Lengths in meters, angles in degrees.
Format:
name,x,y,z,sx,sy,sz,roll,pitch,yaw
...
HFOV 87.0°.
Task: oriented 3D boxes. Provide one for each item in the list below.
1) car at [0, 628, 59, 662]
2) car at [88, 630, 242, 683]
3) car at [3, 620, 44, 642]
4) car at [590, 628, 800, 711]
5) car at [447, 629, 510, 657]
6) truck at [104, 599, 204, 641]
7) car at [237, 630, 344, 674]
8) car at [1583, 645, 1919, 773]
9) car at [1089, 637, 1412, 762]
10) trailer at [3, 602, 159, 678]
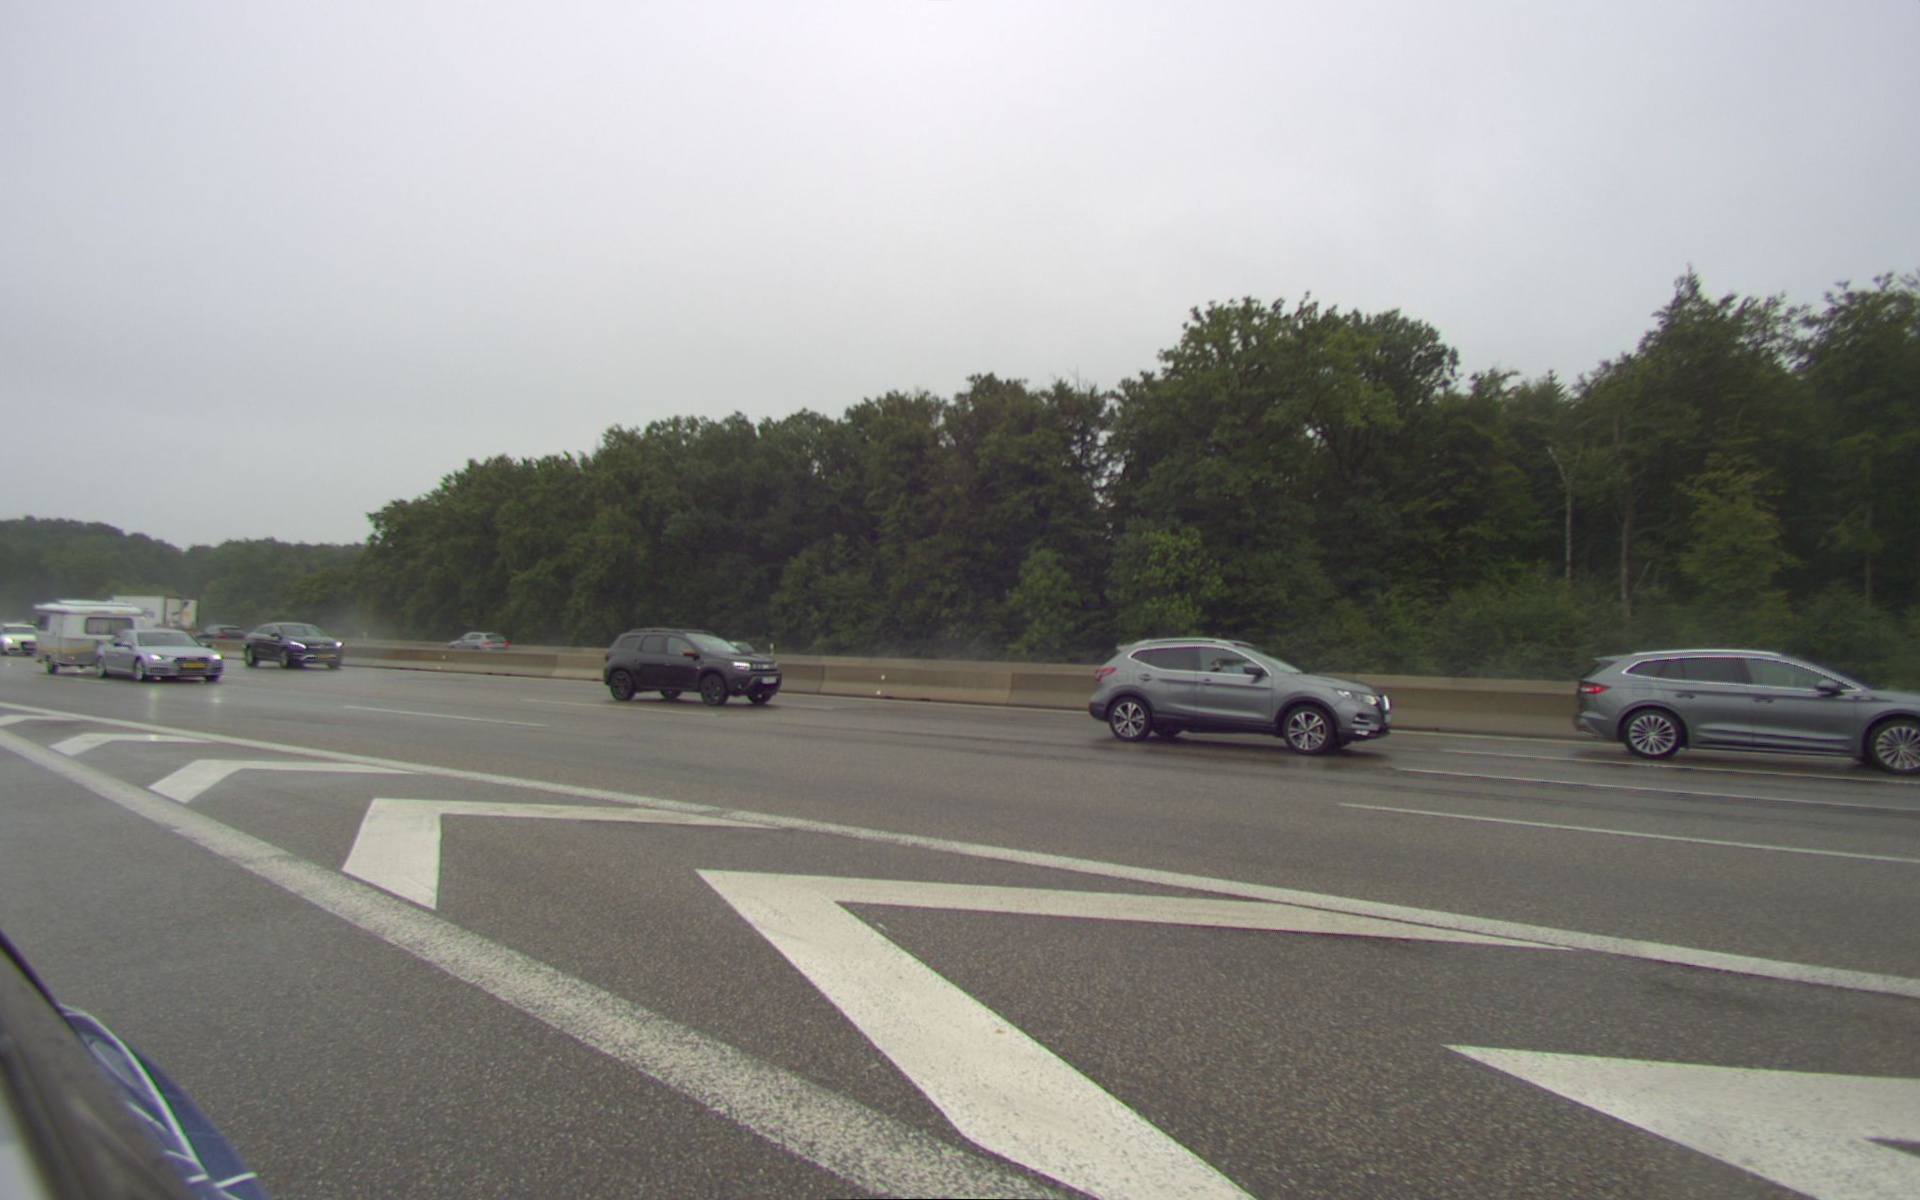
name,x,y,z,sx,sy,sz,roll,pitch,yaw
car,-43.418,2.048,46.459,4.489,1.492,1.865,0,-4,33
car,-21.813,1.539,27.717,4.567,1.358,1.831,-1,-5,32
car,-91.154,3.025,98.449,4.655,2.029,1.976,-1,-3,36
car,-5.965,1.504,22.682,4.440,1.676,1.912,-1,-4,29
car,-30.772,2.739,64.636,3.985,1.763,1.673,-1,-3,31
truck,-76.545,1.956,95.900,15.173,3.693,3.121,-1,-3,35
car,-26.009,1.992,39.283,4.510,1.587,1.691,-1,-4,32
car,11.524,1.481,14.418,4.447,1.586,1.704,-1,-4,34
car,4.242,1.382,15.014,4.321,1.586,1.704,-1,-4,33
trailer,-27.049,1.249,31.102,5.162,2.172,2.112,-1,-5,32
